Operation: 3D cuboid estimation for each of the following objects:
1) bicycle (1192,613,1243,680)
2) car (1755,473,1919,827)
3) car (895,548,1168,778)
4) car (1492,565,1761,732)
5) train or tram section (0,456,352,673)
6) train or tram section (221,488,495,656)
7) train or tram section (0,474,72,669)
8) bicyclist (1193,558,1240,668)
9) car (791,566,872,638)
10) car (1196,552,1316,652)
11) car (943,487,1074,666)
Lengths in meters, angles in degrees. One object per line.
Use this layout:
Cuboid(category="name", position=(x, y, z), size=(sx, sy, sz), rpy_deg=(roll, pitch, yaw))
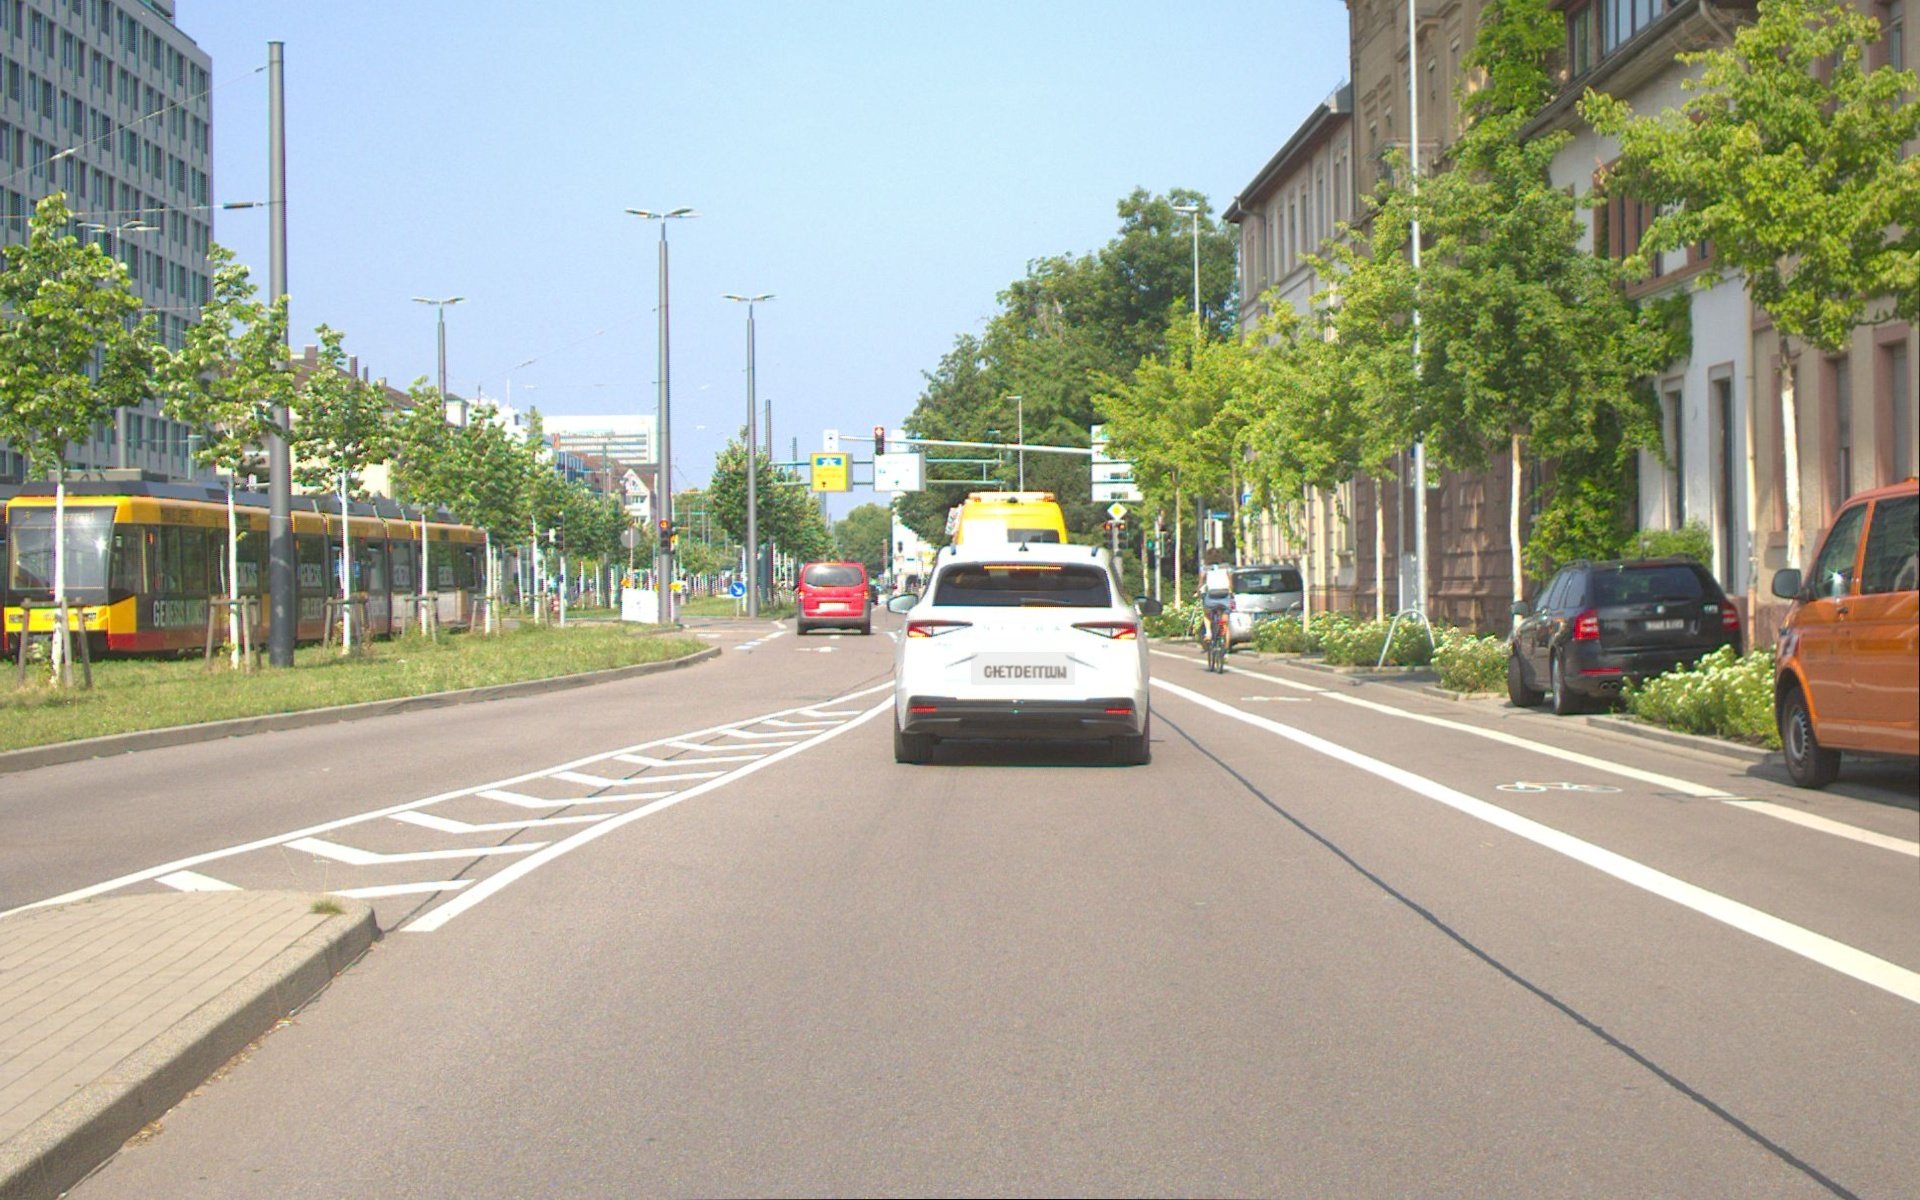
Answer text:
Cuboid(category="bicycle", position=(3.706, 0.667, 49.555), size=(0.655, 0.935, 1.517), rpy_deg=(0, 0, 1))
Cuboid(category="car", position=(6.440, 0.259, 20.876), size=(2.063, 2.007, 4.588), rpy_deg=(0, 1, -1))
Cuboid(category="car", position=(0.472, 0.420, 25.670), size=(1.870, 1.569, 4.000), rpy_deg=(0, 0, -1))
Cuboid(category="car", position=(6.461, 0.448, 33.738), size=(1.673, 1.478, 4.312), rpy_deg=(-2, 0, -1))
Cuboid(category="train or tram section", position=(-15.413, -0.603, 67.798), size=(2.906, 3.664, 18.135), rpy_deg=(1, 0, 2))
Cuboid(category="train or tram section", position=(-14.695, -0.600, 86.006), size=(2.906, 3.694, 18.288), rpy_deg=(1, 0, 2))
Cuboid(category="train or tram section", position=(-18.739, -0.498, 60.064), size=(2.881, 3.525, 13.609), rpy_deg=(0, 0, 0))
Cuboid(category="bicyclist", position=(3.697, 0.183, 49.675), size=(0.639, 1.571, 0.771), rpy_deg=(0, 0, 1))
Cuboid(category="car", position=(-3.293, 0.044, 88.617), size=(1.930, 1.815, 4.000), rpy_deg=(0, 0, 0))
Cuboid(category="car", position=(5.480, 0.025, 64.062), size=(1.812, 1.806, 3.836), rpy_deg=(0, 1, -1))
Cuboid(category="car", position=(0.759, -0.462, 56.926), size=(2.020, 2.786, 5.401), rpy_deg=(0, 2, -1))
